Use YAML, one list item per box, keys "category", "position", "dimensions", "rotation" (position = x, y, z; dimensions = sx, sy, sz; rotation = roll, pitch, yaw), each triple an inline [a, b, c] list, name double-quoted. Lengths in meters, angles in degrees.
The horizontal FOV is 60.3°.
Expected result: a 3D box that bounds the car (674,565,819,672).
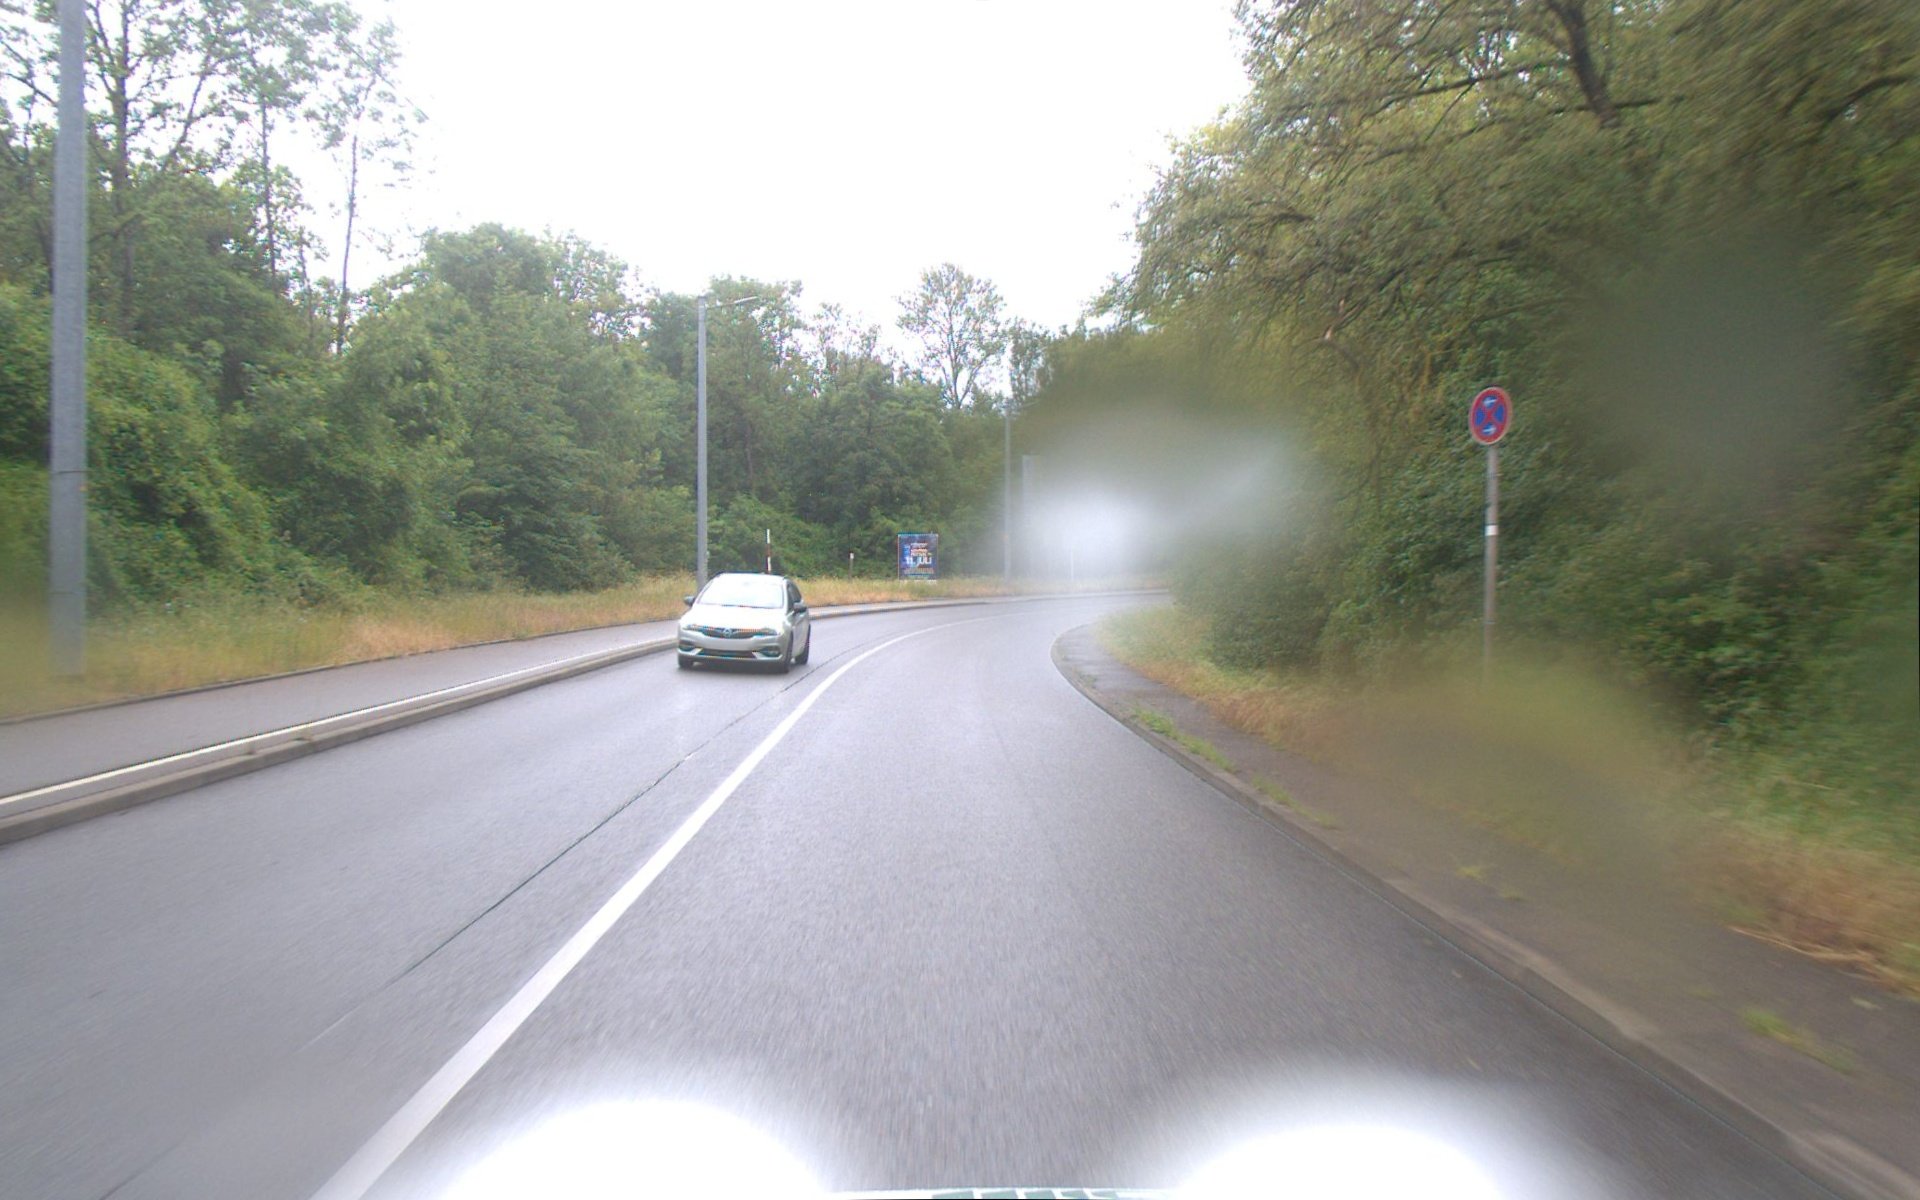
- category: "car"
  position: [-3.409, 0.230, 27.156]
  dimensions: [1.744, 1.455, 4.475]
  rotation: [3, 2, 0]
